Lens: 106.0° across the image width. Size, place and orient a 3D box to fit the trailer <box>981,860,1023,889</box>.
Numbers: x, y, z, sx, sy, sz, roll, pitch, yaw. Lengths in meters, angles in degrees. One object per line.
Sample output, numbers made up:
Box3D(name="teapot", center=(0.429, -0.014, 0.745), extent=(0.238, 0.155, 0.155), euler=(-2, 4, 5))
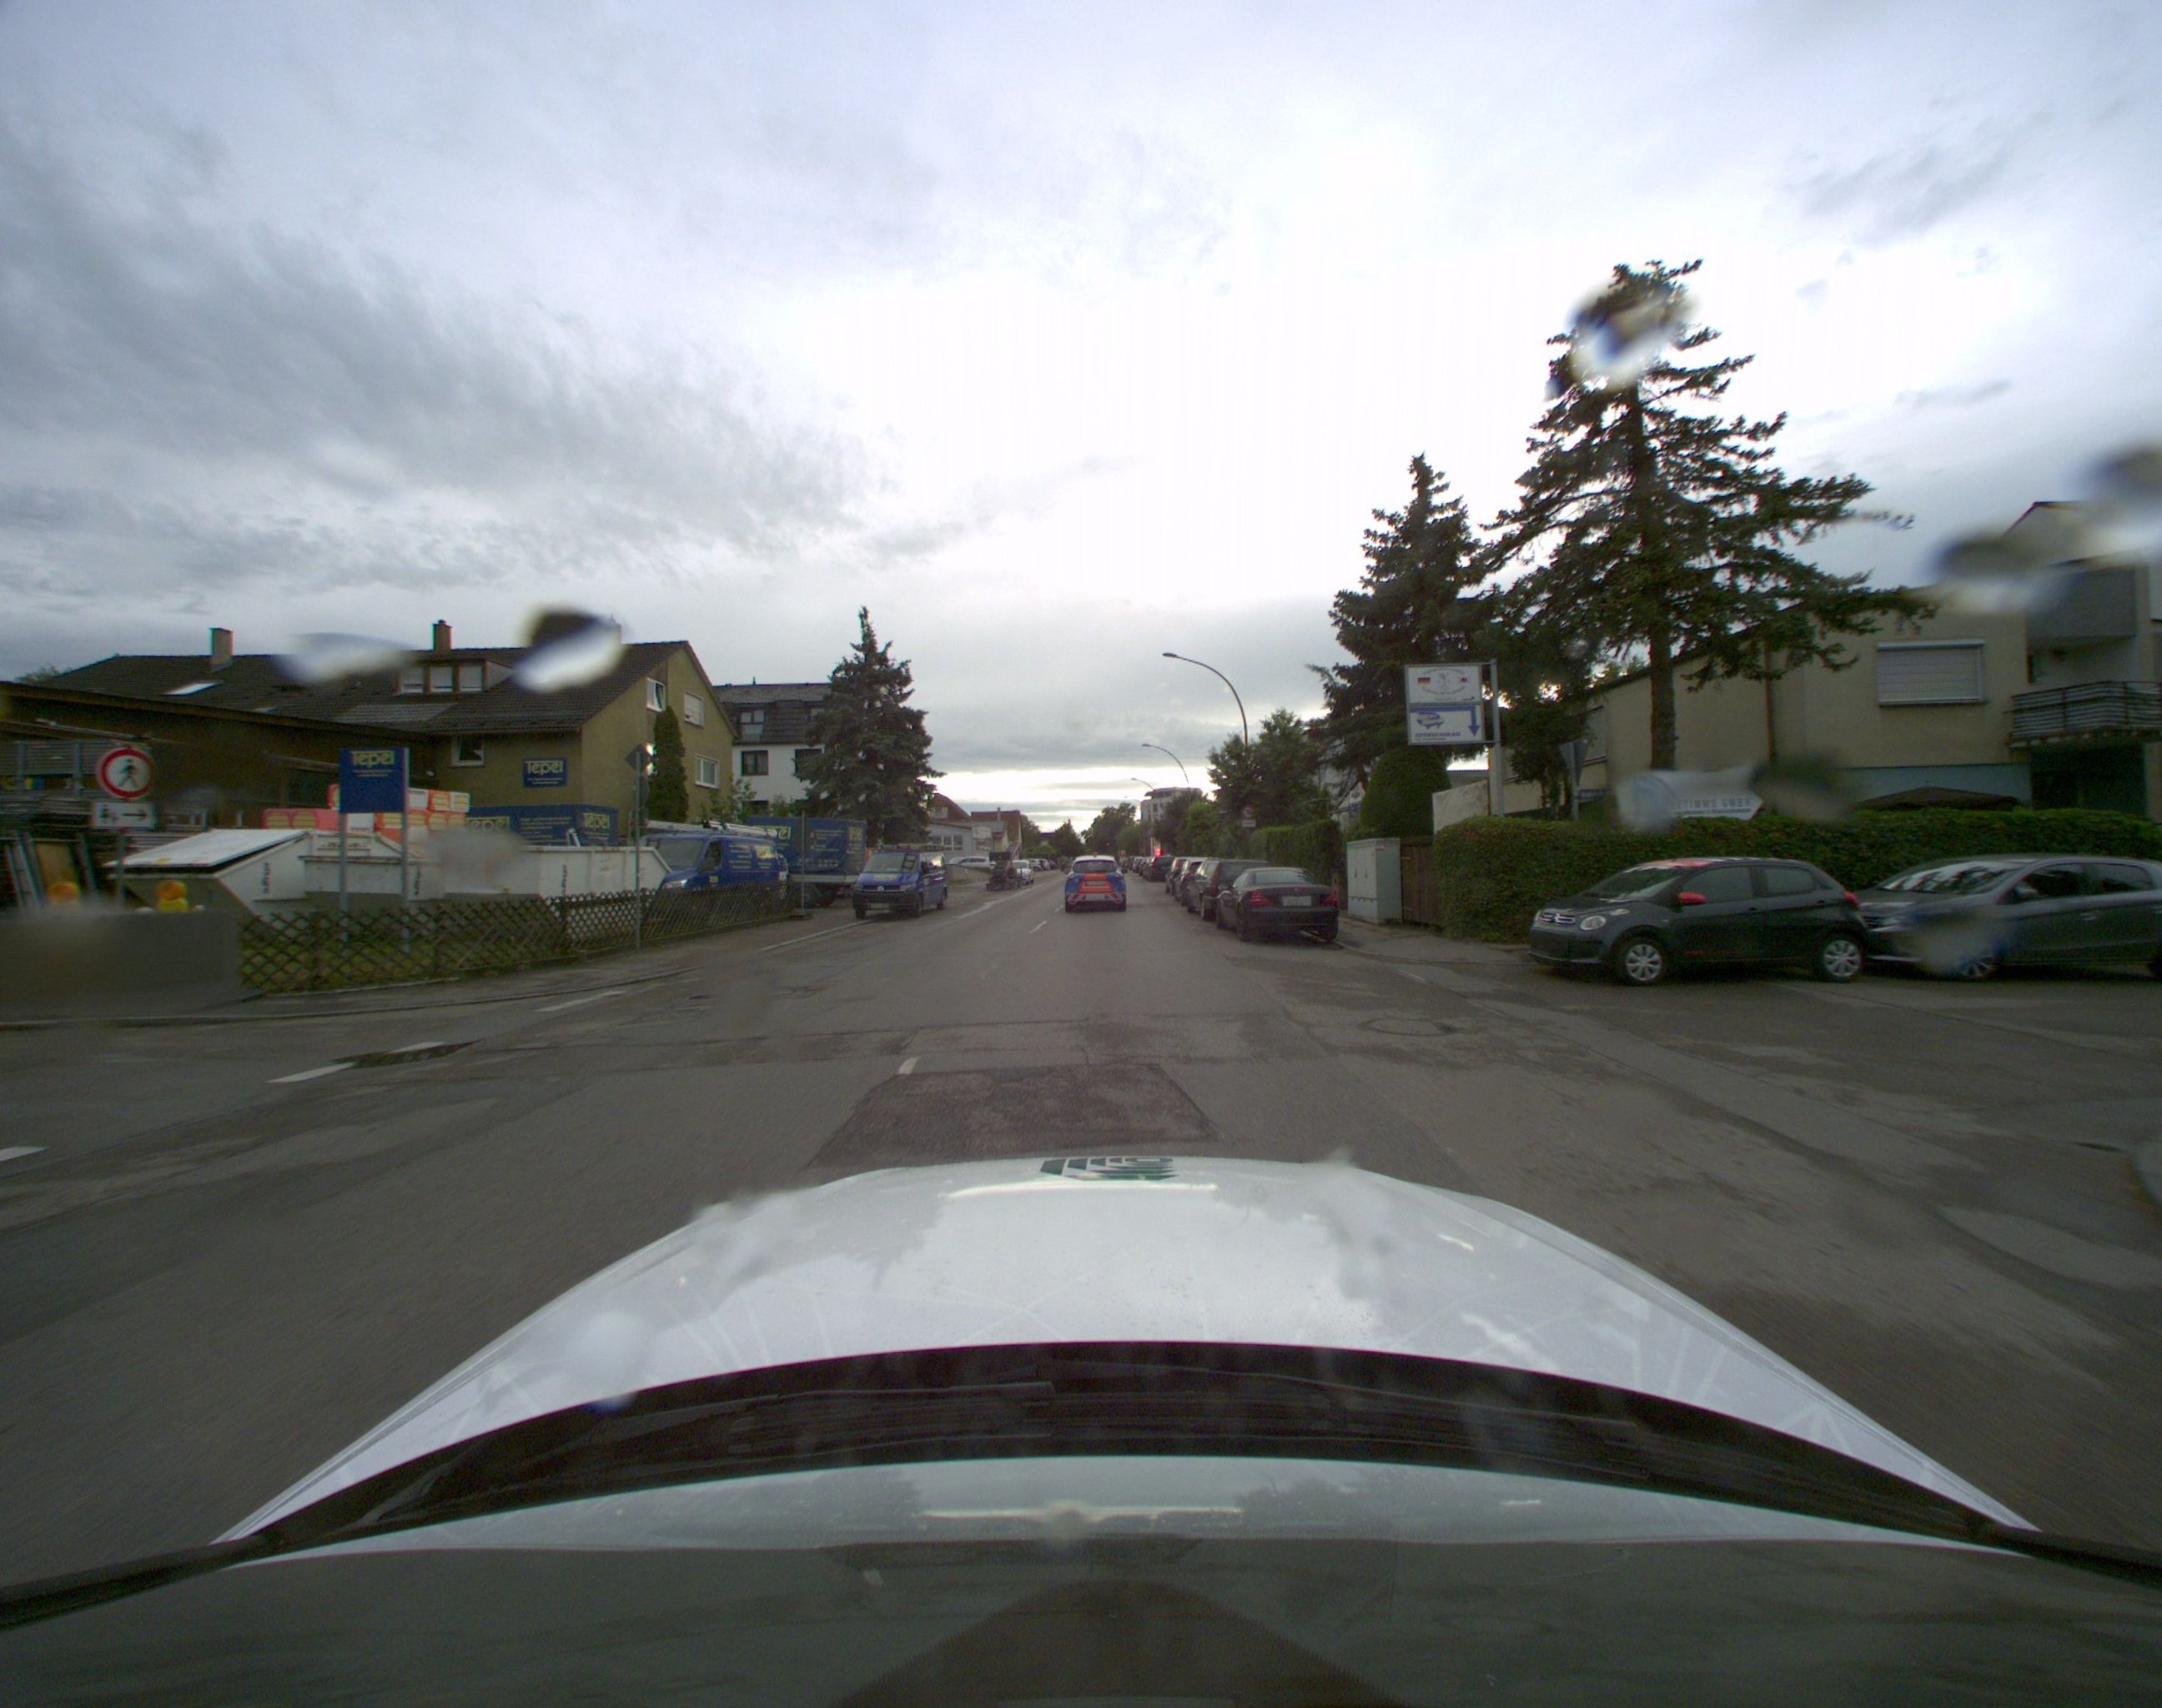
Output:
Box3D(name="trailer", center=(-4.090, 1.021, 42.888), extent=(1.711, 1.260, 5.244), euler=(0, 1, 0))

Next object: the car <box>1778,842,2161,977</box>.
Box3D(name="car", center=(11.383, 0.644, 10.280), extent=(3.602, 1.538, 1.860), euler=(0, -1, 0))

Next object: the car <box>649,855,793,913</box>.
Box3D(name="car", center=(-11.174, 0.912, 25.440), extent=(3.693, 1.750, 1.779), euler=(0, -1, 3))

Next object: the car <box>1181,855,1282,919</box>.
Box3D(name="car", center=(3.618, 0.748, 20.409), extent=(1.651, 1.419, 4.776), euler=(0, -1, 0))

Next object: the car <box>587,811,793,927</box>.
Box3D(name="car", center=(-9.746, 0.365, 21.118), extent=(2.067, 2.567, 6.205), euler=(0, -1, 3))

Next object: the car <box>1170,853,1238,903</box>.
Box3D(name="car", center=(3.792, 0.693, 25.672), extent=(1.651, 1.449, 3.830), euler=(0, 0, 1))

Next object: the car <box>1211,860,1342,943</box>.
Box3D(name="car", center=(3.613, 0.808, 15.753), extent=(1.584, 1.341, 4.093), euler=(1, 0, 0))

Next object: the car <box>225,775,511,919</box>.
Box3D(name="car", center=(-16.774, -0.121, 19.675), extent=(2.067, 3.013, 5.246), euler=(0, -1, 3))

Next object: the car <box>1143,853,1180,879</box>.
Box3D(name="car", center=(4.643, 0.692, 47.607), extent=(1.706, 1.438, 4.525), euler=(0, -1, 0))

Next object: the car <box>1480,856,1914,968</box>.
Box3D(name="car", center=(7.451, 0.670, 10.192), extent=(3.974, 1.266, 1.951), euler=(0, -1, 0))

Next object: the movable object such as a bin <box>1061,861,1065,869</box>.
Box3D(name="movable object such as a bin", center=(-2.545, 1.557, 113.941), extent=(0.577, 1.204, 0.319), euler=(0, -1, 2))

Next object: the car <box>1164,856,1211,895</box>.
Box3D(name="car", center=(4.113, 0.787, 31.844), extent=(1.481, 1.439, 3.808), euler=(0, 0, 2))

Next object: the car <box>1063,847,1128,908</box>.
Box3D(name="car", center=(0.435, 0.658, 23.815), extent=(1.725, 1.631, 3.495), euler=(-1, -1, 1))

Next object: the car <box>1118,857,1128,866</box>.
Box3D(name="car", center=(7.789, 1.377, 149.891), extent=(1.644, 1.483, 4.000), euler=(0, -1, 0))

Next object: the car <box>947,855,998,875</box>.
Box3D(name="car", center=(-8.472, 0.852, 63.865), extent=(3.747, 1.568, 1.655), euler=(0, -1, 0))

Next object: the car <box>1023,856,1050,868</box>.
Box3D(name="car", center=(-6.127, 1.091, 111.983), extent=(3.644, 1.483, 1.478), euler=(-2, 0, -3))

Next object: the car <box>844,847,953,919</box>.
Box3D(name="car", center=(-5.461, 0.808, 25.165), extent=(1.986, 1.947, 5.367), euler=(-1, 0, 1))

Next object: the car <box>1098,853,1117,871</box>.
Box3D(name="car", center=(2.352, 0.719, 73.585), extent=(1.644, 1.522, 4.000), euler=(0, -1, 0))

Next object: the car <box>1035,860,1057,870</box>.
Box3D(name="car", center=(-5.150, 1.615, 119.980), extent=(3.273, 1.448, 1.478), euler=(-2, 0, -3))

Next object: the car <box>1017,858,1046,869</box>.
Box3D(name="car", center=(-6.513, 1.244, 108.099), extent=(3.750, 1.483, 1.654), euler=(0, -1, -3))

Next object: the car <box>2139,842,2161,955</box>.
Box3D(name="car", center=(16.372, 0.582, 10.124), extent=(3.931, 1.508, 1.943), euler=(0, -1, 0))

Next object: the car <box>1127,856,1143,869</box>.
Box3D(name="car", center=(6.339, 0.959, 96.181), extent=(1.644, 1.522, 4.000), euler=(0, -1, 0))

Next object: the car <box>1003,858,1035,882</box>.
Box3D(name="car", center=(-3.775, 0.988, 50.233), extent=(1.551, 1.433, 4.002), euler=(0, -1, 2))

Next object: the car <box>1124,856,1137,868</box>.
Box3D(name="car", center=(7.195, 1.110, 117.948), extent=(1.644, 1.671, 4.000), euler=(0, -1, 0))

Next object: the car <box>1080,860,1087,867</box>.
Box3D(name="car", center=(0.423, 1.704, 147.122), extent=(1.147, 1.232, 3.372), euler=(-2, 0, 0))

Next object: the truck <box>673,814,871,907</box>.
Box3D(name="truck", center=(-10.630, 0.233, 28.364), extent=(5.888, 3.073, 2.451), euler=(0, -1, 2))

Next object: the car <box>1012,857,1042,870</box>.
Box3D(name="car", center=(-6.909, 1.232, 103.743), extent=(3.750, 1.576, 1.654), euler=(0, -1, -3))

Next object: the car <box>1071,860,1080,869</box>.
Box3D(name="car", center=(-0.897, 1.637, 128.778), extent=(1.381, 1.483, 3.784), euler=(-1, 0, 0))
